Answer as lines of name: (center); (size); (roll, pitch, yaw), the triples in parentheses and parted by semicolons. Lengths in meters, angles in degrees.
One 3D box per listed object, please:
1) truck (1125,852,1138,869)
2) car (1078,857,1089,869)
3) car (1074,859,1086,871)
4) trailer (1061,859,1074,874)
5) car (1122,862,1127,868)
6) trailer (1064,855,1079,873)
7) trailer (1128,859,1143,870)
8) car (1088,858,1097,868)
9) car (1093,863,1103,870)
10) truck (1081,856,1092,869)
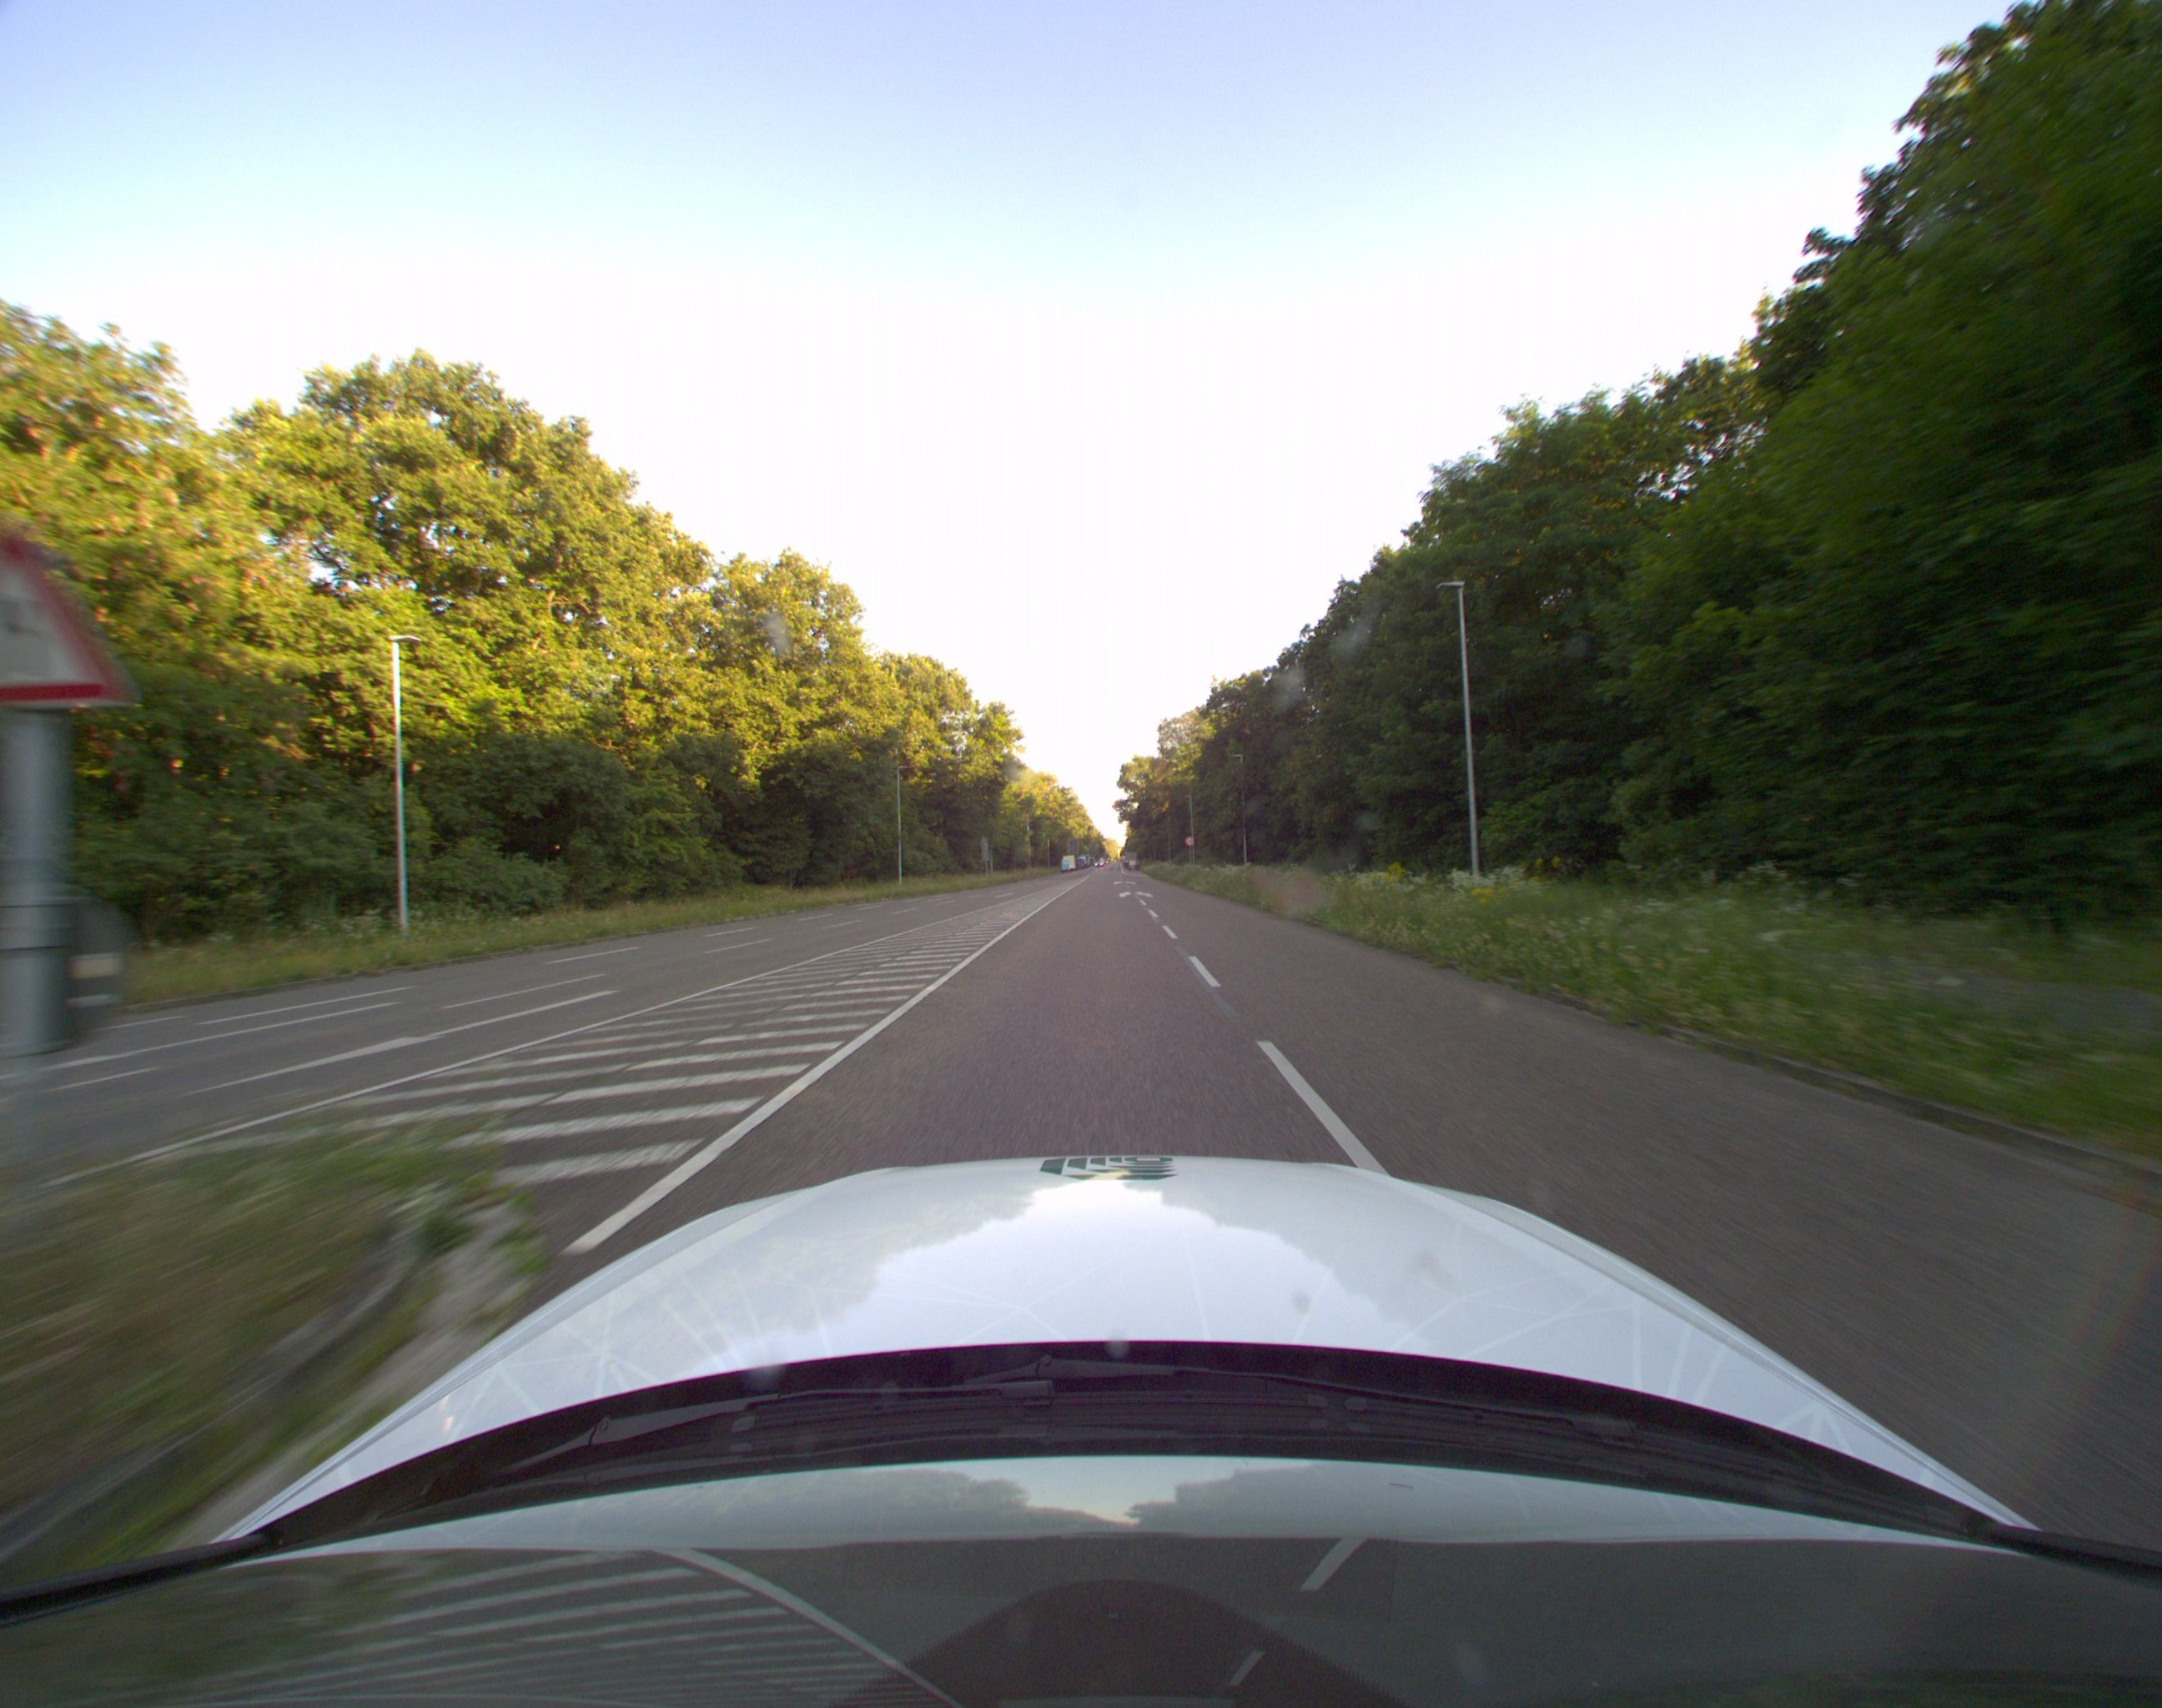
truck: (10.032, 1.295, 161.856); (2.577, 3.255, 7.228); (-1, -1, 4)
car: (0.546, 2.066, 188.487); (2.240, 2.647, 5.724); (-3, -1, 2)
car: (-0.165, 2.264, 170.907); (1.986, 2.364, 5.769); (-4, -1, 2)
trailer: (-2.153, 1.991, 130.038); (1.810, 2.167, 4.144); (-3, -1, 2)
car: (12.614, 3.209, 234.856); (1.144, 1.251, 2.754); (-13, 1, 0)
trailer: (-1.660, 1.802, 145.654); (2.317, 2.924, 5.629); (-4, -1, 2)
trailer: (8.660, 1.711, 129.579); (1.445, 1.662, 3.793); (-3, -1, 16)
car: (3.533, 2.673, 248.672); (2.178, 2.788, 5.337); (-3, -1, 2)
car: (4.299, 3.074, 200.955); (2.054, 1.435, 4.471); (-4, -1, 4)
truck: (1.384, 2.201, 214.064); (2.494, 3.329, 6.845); (-3, -1, 2)
